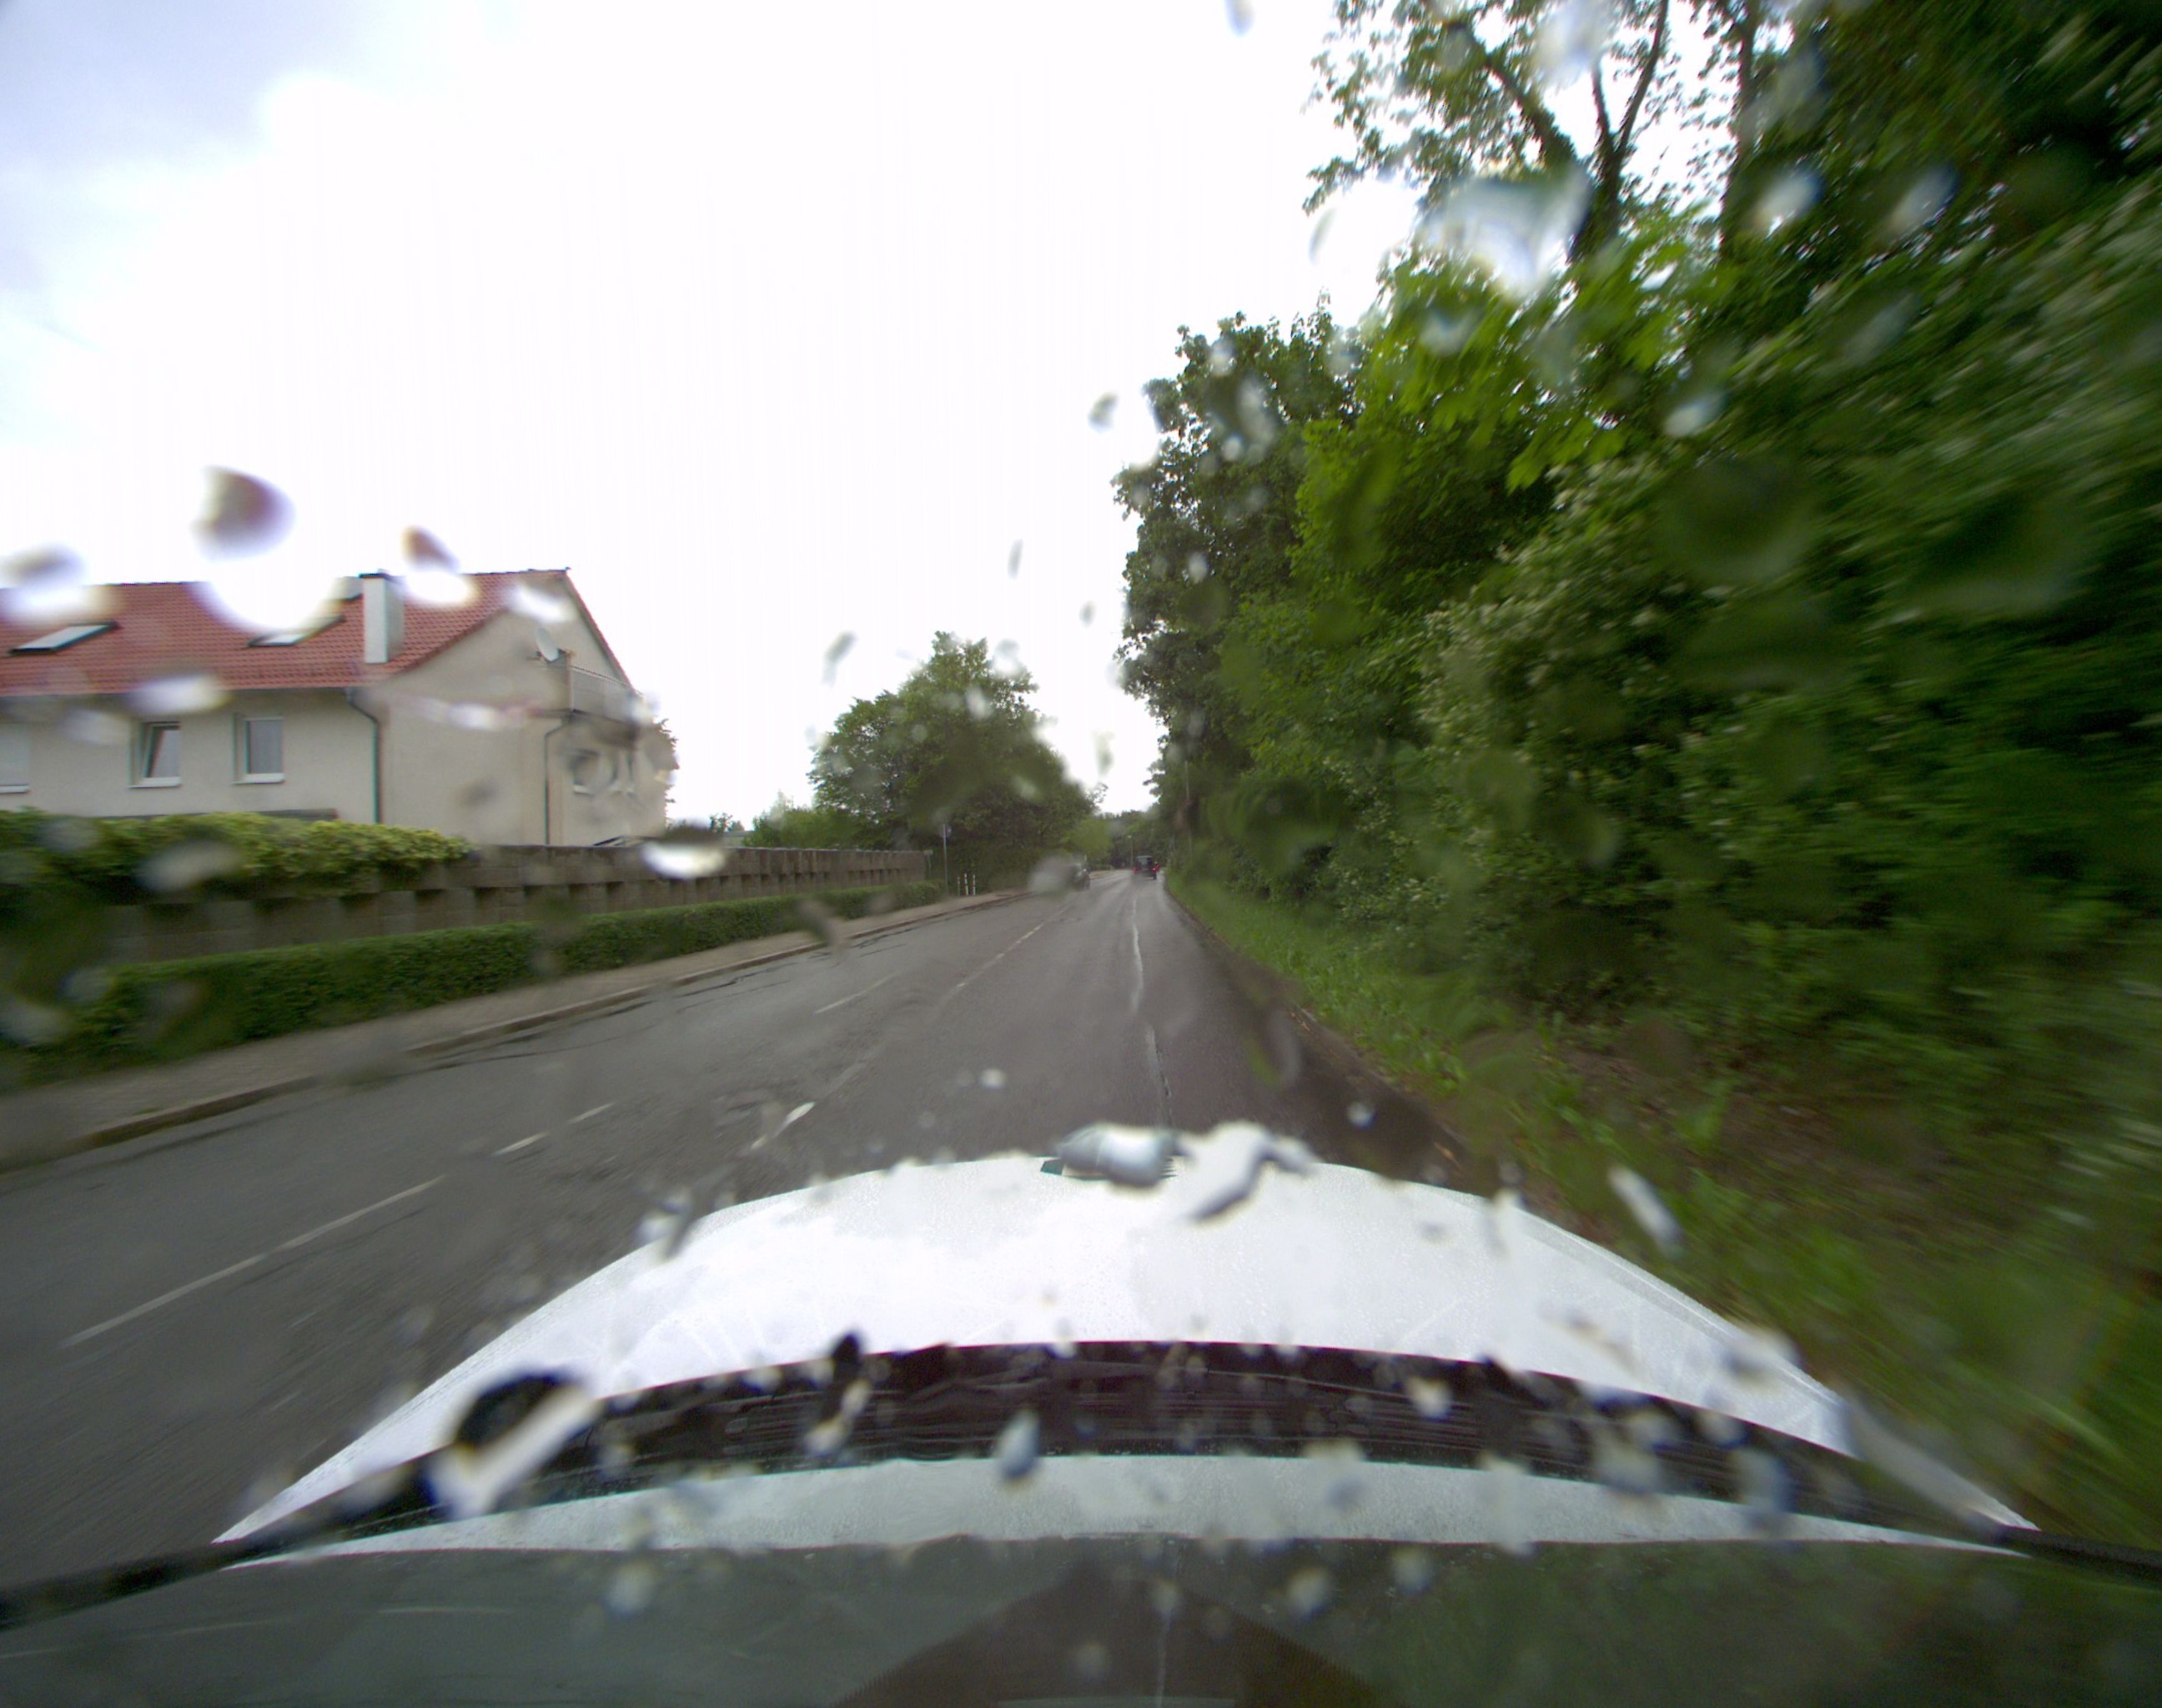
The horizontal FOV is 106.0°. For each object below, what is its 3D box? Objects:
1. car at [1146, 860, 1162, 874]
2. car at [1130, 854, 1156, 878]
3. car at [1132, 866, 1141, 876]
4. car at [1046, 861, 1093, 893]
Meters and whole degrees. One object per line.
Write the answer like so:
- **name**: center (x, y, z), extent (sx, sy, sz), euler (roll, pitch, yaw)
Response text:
- **car**: center (10.623, 1.901, 118.922), extent (1.943, 1.749, 4.000), euler (-3, 0, 0)
- **car**: center (4.974, 0.898, 64.868), extent (1.984, 1.793, 4.006), euler (-1, 1, 5)
- **car**: center (12.210, 3.741, 180.524), extent (1.985, 2.014, 4.004), euler (0, 0, 4)
- **car**: center (-0.548, 1.195, 43.005), extent (1.985, 1.420, 4.491), euler (-4, 0, 4)
